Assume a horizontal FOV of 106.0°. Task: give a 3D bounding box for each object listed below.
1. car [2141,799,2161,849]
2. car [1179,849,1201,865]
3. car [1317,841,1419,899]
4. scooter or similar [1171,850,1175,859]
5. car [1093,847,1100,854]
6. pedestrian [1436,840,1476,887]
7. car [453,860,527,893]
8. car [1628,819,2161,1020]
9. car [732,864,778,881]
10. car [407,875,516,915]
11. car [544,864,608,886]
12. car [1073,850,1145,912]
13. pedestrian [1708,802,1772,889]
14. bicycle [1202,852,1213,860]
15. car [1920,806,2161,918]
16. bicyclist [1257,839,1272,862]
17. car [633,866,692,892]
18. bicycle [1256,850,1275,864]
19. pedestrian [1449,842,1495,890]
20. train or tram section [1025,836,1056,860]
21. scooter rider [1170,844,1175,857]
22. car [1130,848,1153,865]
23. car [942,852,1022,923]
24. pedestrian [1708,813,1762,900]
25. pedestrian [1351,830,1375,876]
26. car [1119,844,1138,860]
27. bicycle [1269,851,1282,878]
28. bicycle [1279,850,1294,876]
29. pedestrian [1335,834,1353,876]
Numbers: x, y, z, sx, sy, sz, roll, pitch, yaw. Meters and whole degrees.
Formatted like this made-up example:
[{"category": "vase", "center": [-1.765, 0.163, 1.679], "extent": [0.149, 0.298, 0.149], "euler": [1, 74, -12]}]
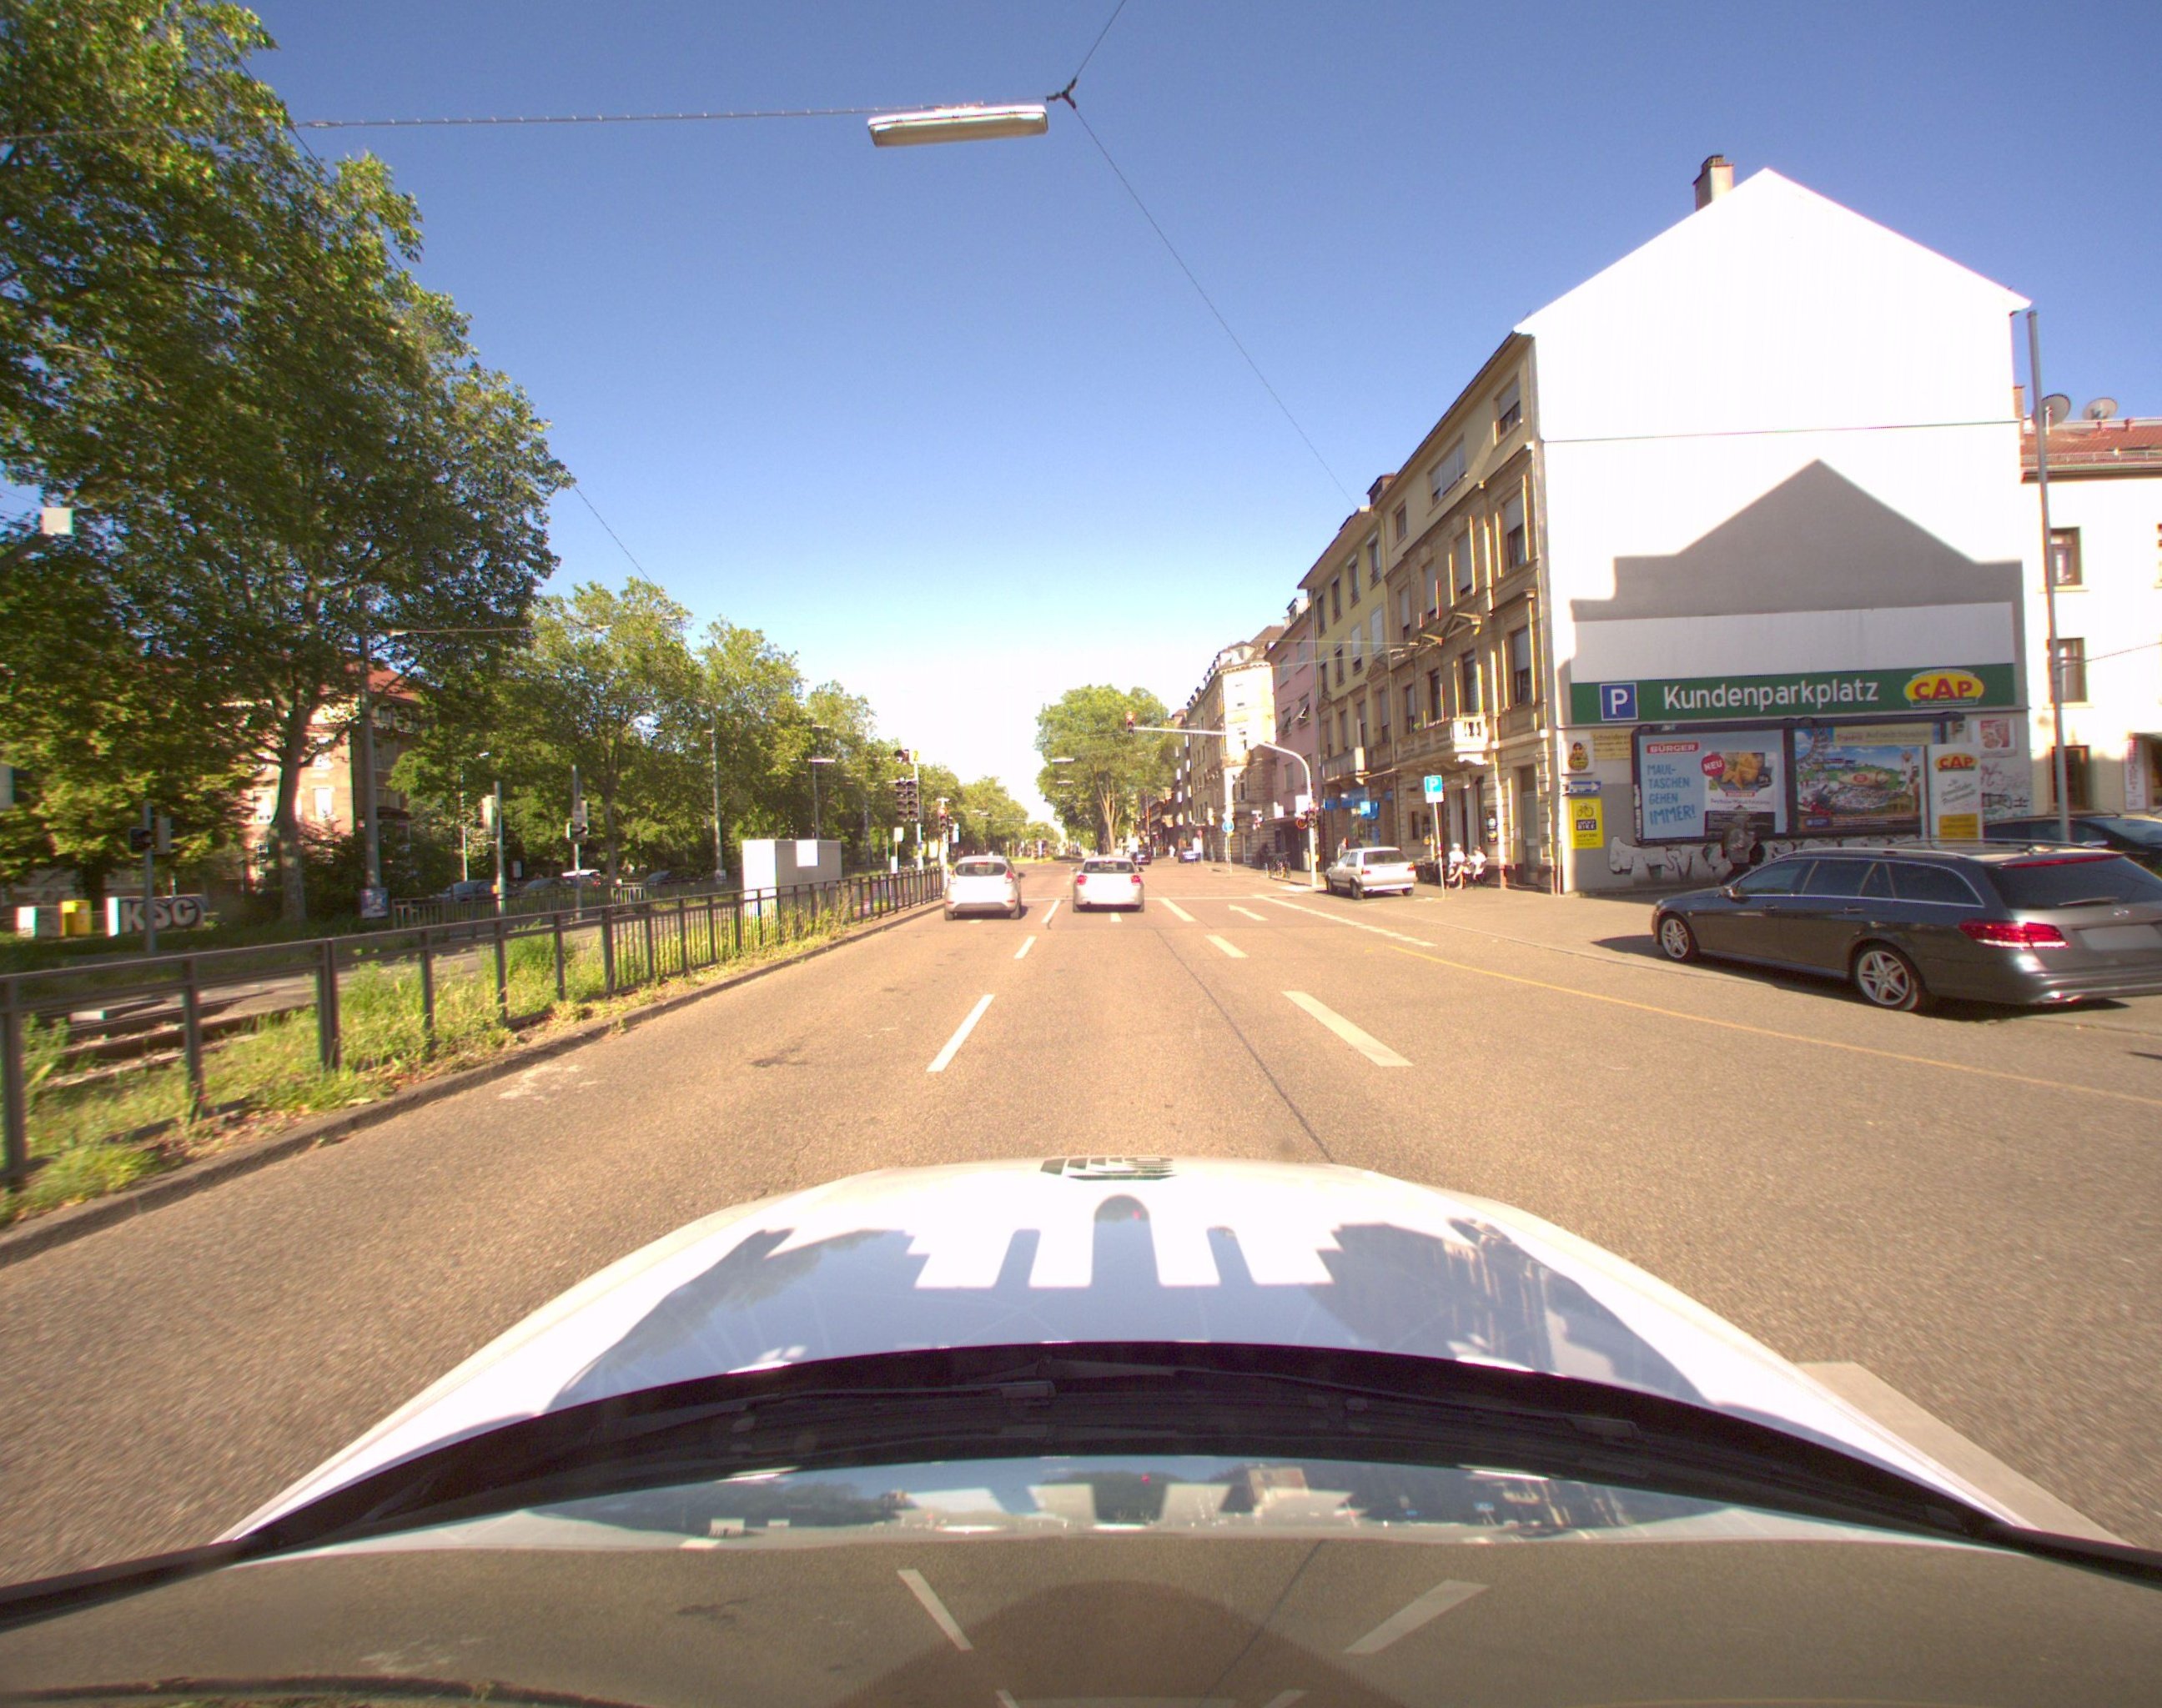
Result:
[{"category": "car", "center": [32.235, -0.907, 22.104], "extent": [1.748, 1.464, 4.001], "euler": [-2, 0, 1]}, {"category": "car", "center": [10.405, 0.285, 77.970], "extent": [1.729, 1.519, 3.637], "euler": [-1, 0, 1]}, {"category": "car", "center": [8.349, 0.417, 24.047], "extent": [1.557, 1.415, 4.005], "euler": [-5, 0, 1]}, {"category": "scooter or similar", "center": [10.805, 0.052, 96.016], "extent": [0.336, 0.988, 1.285], "euler": [-2, 1, 3]}, {"category": "car", "center": [4.637, -1.057, 246.760], "extent": [1.986, 2.013, 4.002], "euler": [-3, 0, 2]}, {"category": "pedestrian", "center": [10.939, 0.276, 23.771], "extent": [0.795, 1.281, 0.608], "euler": [-5, 0, -1]}, {"category": "car", "center": [-40.290, 1.488, 55.680], "extent": [1.986, 2.013, 4.001], "euler": [-2, 0, 1]}, {"category": "car", "center": [8.474, 0.502, 8.927], "extent": [1.826, 1.487, 4.736], "euler": [-5, 0, 2]}, {"category": "car", "center": [-27.460, 1.549, 68.765], "extent": [1.930, 1.349, 4.848], "euler": [-2, -1, 0]}, {"category": "car", "center": [-27.885, 1.805, 36.848], "extent": [1.664, 1.509, 4.144], "euler": [-3, 0, 0]}, {"category": "car", "center": [-37.867, 1.564, 61.054], "extent": [3.968, 1.494, 1.395], "euler": [-2, 0, 5]}, {"category": "car", "center": [0.721, 0.627, 21.548], "extent": [1.734, 1.467, 4.001], "euler": [0, 0, 1]}, {"category": "pedestrian", "center": [14.438, -0.185, 17.858], "extent": [0.762, 1.841, 0.744], "euler": [-2, 0, -17]}, {"category": "bicycle", "center": [12.148, 0.169, 78.089], "extent": [0.752, 0.770, 1.945], "euler": [-2, 0, 0]}, {"category": "car", "center": [15.022, 0.071, 12.083], "extent": [1.554, 1.485, 3.392], "euler": [-2, 0, -2]}, {"category": "bicyclist", "center": [12.166, -0.220, 53.978], "extent": [0.541, 1.502, 0.967], "euler": [-2, 0, 42]}, {"category": "car", "center": [-27.572, 1.631, 53.753], "extent": [1.664, 1.509, 4.145], "euler": [-3, 0, 0]}, {"category": "bicycle", "center": [12.229, 0.218, 54.001], "extent": [0.646, 0.903, 1.346], "euler": [-1, 0, 43]}, {"category": "pedestrian", "center": [11.074, 0.342, 23.080], "extent": [0.899, 1.281, 0.655], "euler": [-4, 0, -4]}, {"category": "train or tram section", "center": [-7.079, -1.123, 144.688], "extent": [3.954, 3.865, 17.495], "euler": [-2, 0, 2]}, {"category": "scooter rider", "center": [10.793, -0.392, 95.865], "extent": [0.464, 1.505, 0.811], "euler": [-2, -1, 1]}, {"category": "car", "center": [5.304, 0.225, 72.121], "extent": [1.730, 1.433, 3.677], "euler": [-1, 0, 0]}, {"category": "car", "center": [-2.304, 0.726, 19.716], "extent": [1.606, 1.467, 3.885], "euler": [-2, 0, -3]}, {"category": "pedestrian", "center": [13.625, 0.051, 16.974], "extent": [0.762, 1.755, 0.510], "euler": [-2, 0, -19]}, {"category": "pedestrian", "center": [11.435, -0.047, 32.990], "extent": [0.670, 1.806, 0.531], "euler": [-4, 0, 1]}, {"category": "car", "center": [4.827, -0.226, 83.001], "extent": [1.719, 1.507, 3.554], "euler": [-1, 0, 0]}, {"category": "bicycle", "center": [8.874, 0.467, 37.187], "extent": [0.411, 1.140, 1.813], "euler": [-1, 0, 8]}, {"category": "bicycle", "center": [9.373, 0.390, 37.204], "extent": [0.446, 1.159, 1.762], "euler": [-2, 0, 7]}, {"category": "pedestrian", "center": [10.766, 0.030, 33.342], "extent": [0.547, 1.708, 0.389], "euler": [-2, 0, 4]}]
